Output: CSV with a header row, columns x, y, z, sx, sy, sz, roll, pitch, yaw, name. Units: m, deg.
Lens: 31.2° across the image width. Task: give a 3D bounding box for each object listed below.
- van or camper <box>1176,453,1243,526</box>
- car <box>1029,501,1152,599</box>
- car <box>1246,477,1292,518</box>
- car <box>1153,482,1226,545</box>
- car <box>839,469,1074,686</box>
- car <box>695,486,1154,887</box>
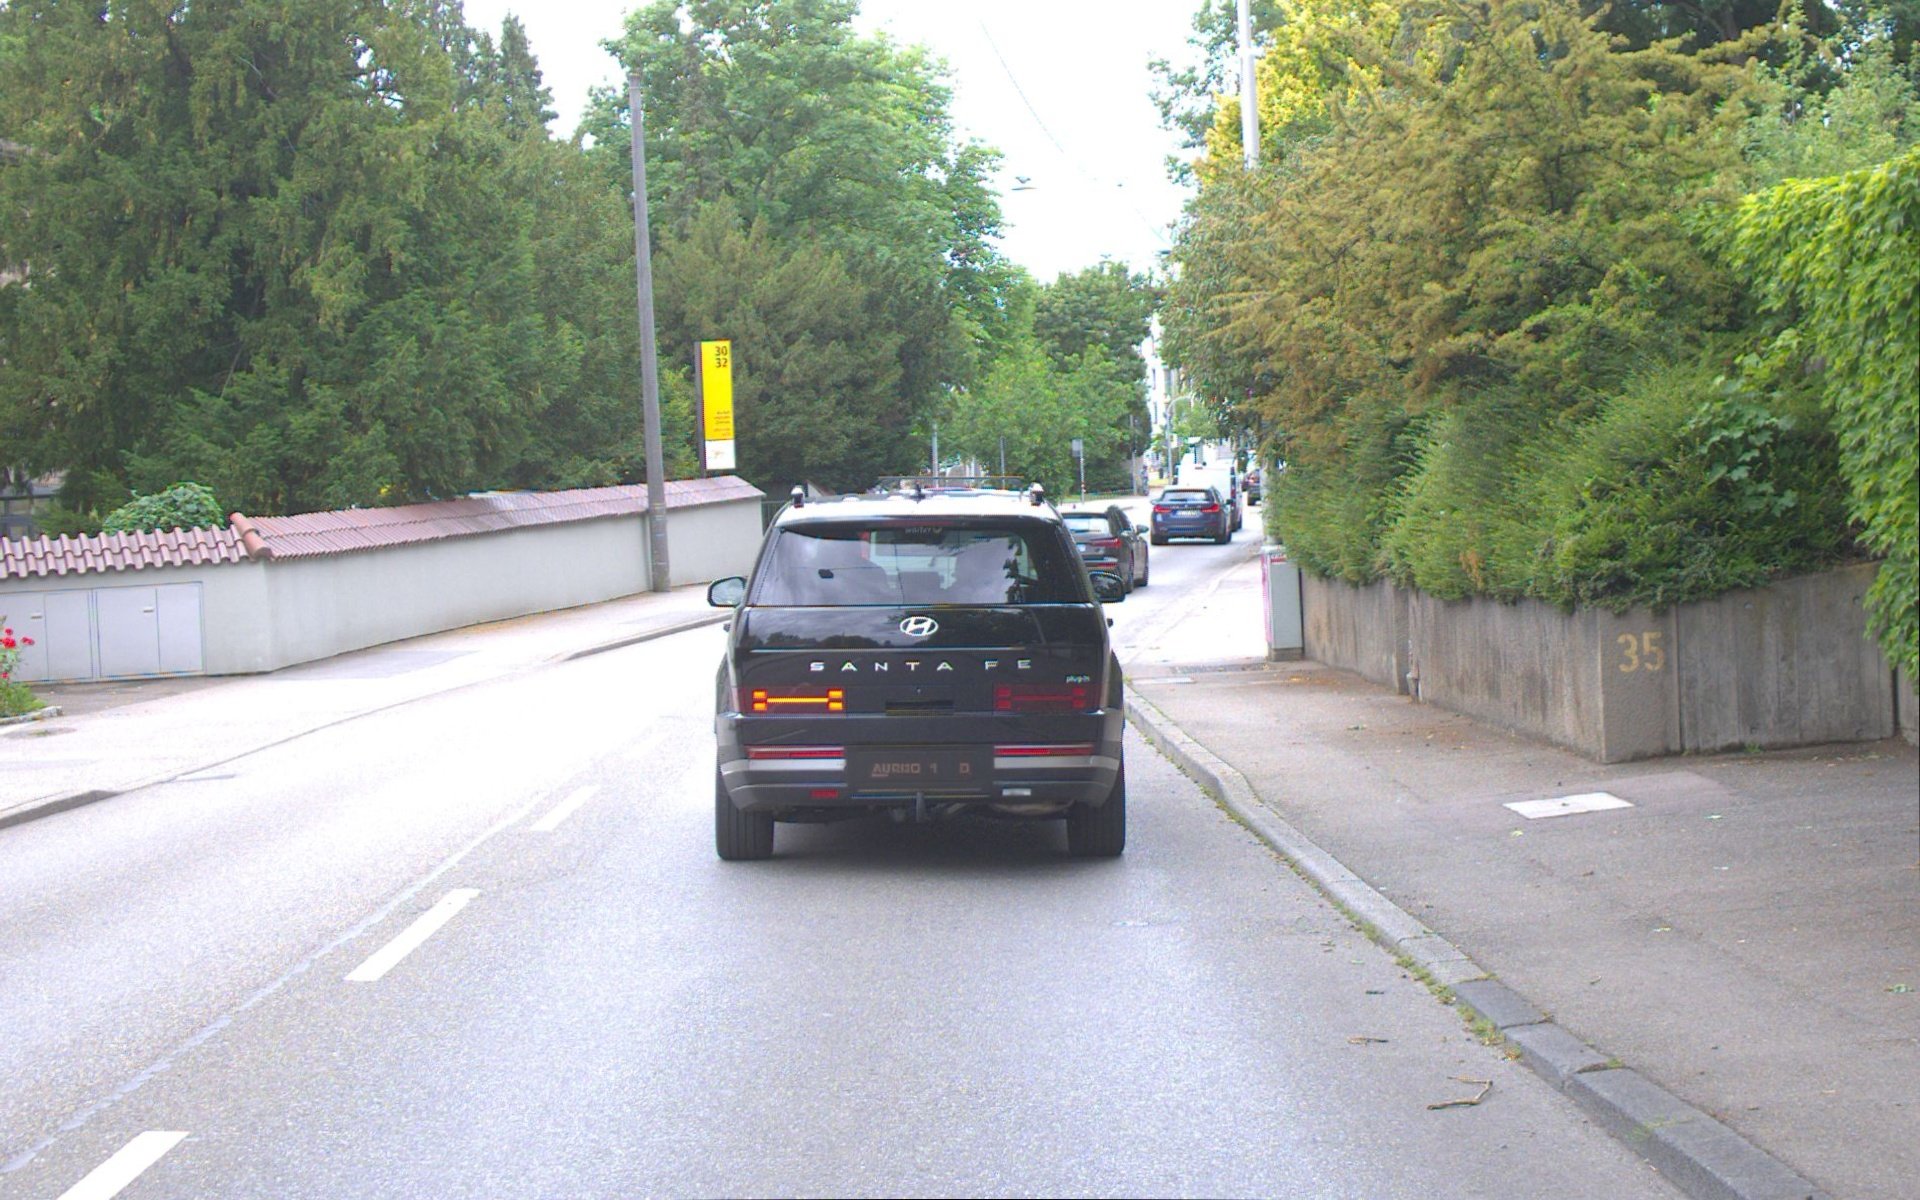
x,y,z,sx,sy,sz,roll,pitch,yaw,name
7.317,-3.239,100.513,1.676,2.000,3.937,-2,2,7,van or camper
2.190,-0.854,56.781,1.676,1.417,3.937,-2,3,7,car
12.727,-4.238,141.582,1.676,1.536,3.937,-2,3,7,car
5.771,-2.182,86.271,1.676,1.417,3.937,-2,3,5,car
0.034,-0.291,33.996,1.957,1.949,4.223,1,3,5,car
-0.180,0.329,16.920,1.957,1.707,4.224,1,1,-1,car
